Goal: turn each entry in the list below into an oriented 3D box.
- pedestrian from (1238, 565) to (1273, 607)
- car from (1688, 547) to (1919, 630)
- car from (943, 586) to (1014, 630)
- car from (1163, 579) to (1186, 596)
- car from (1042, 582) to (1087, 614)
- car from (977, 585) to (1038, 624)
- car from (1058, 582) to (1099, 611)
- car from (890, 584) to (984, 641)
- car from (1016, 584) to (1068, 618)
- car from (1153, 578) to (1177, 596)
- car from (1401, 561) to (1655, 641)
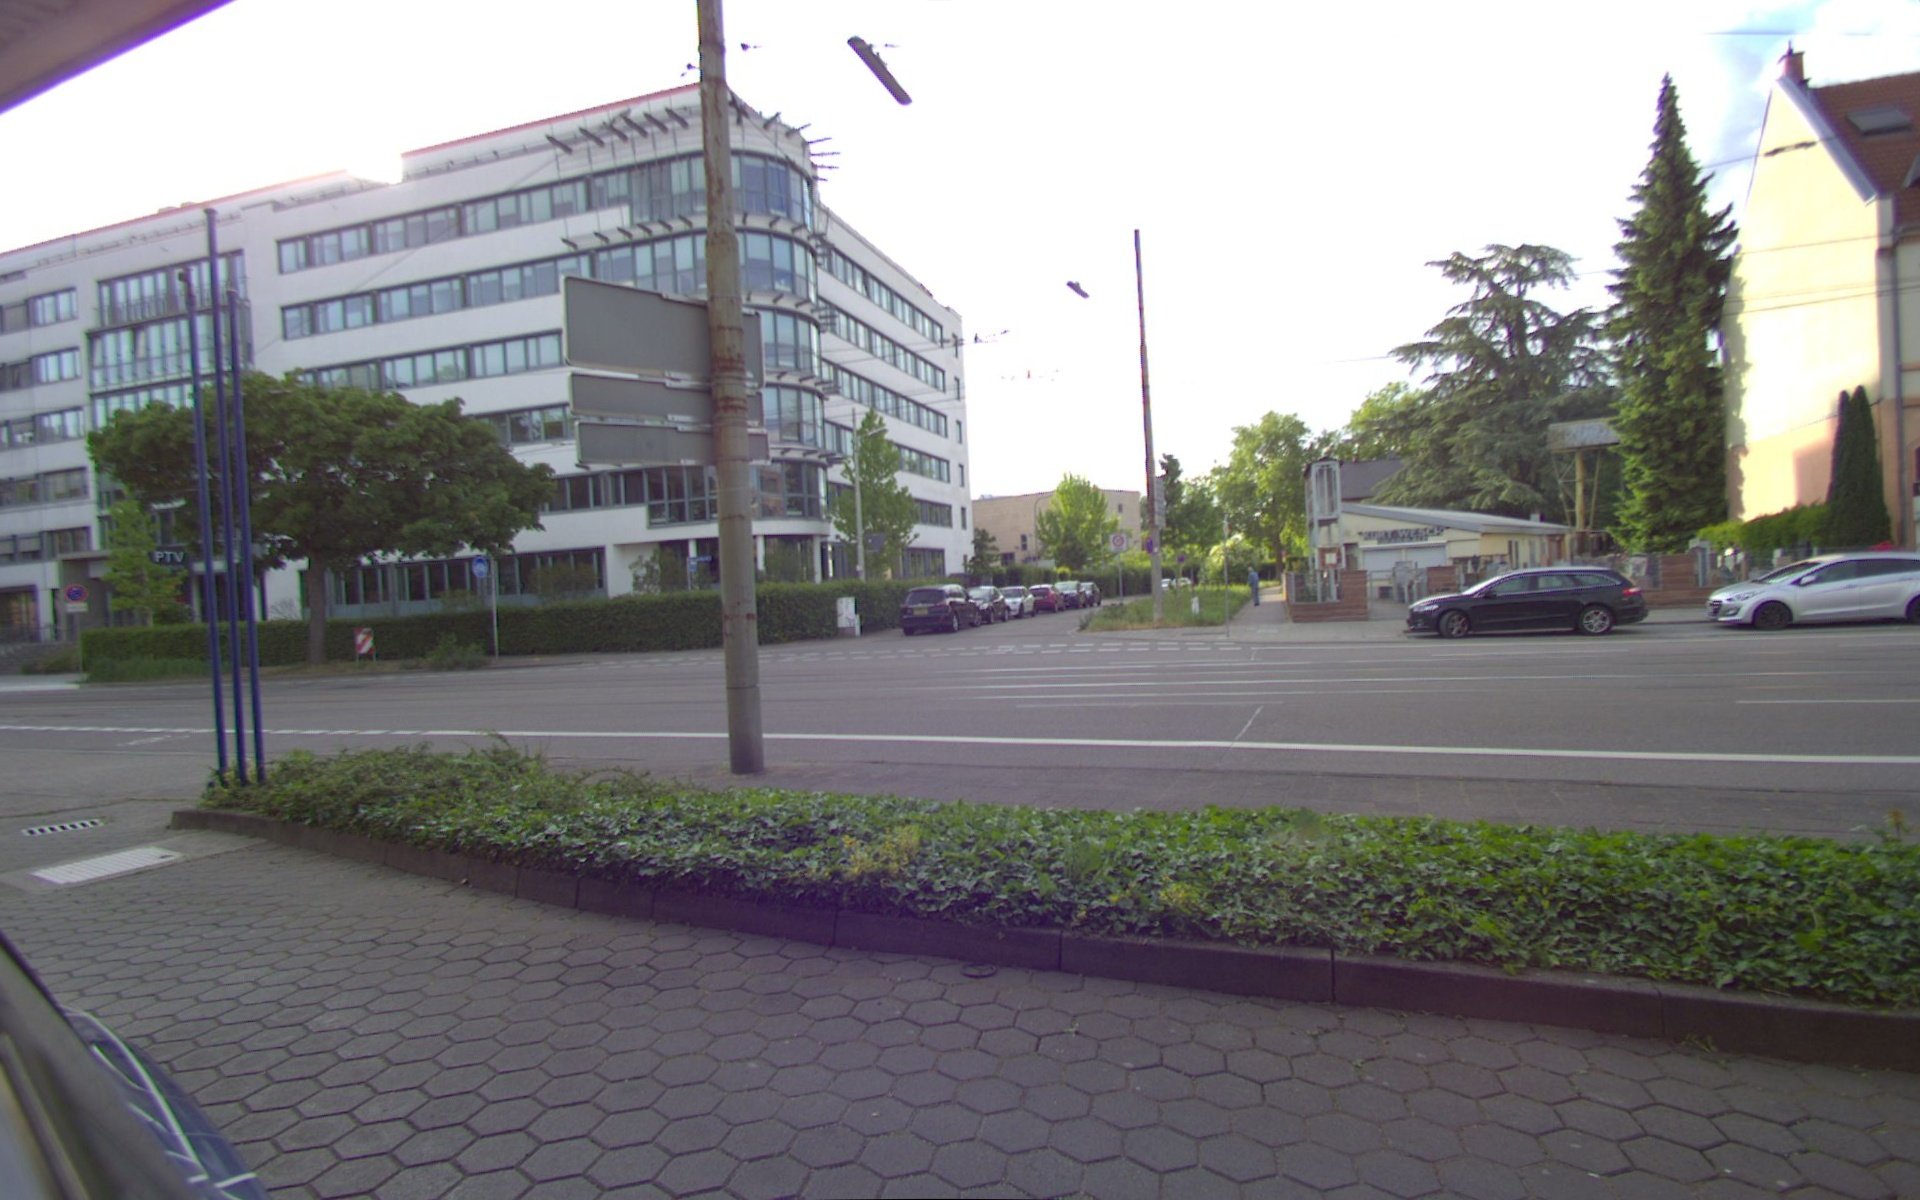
[{"bbox_3d":[13.123,-0.631,44.980,1.073,1.843,1.009,-1,0,-26],"label":"pedestrian"},{"bbox_3d":[18.494,-0.259,21.502,4.459,1.486,1.986,-4,0,22],"label":"car"},{"bbox_3d":[0.799,0.288,40.897,1.773,1.565,4.083,-4,0,17],"label":"car"},{"bbox_3d":[22.563,-1.297,106.315,1.774,1.653,4.060,-4,0,19],"label":"car"},{"bbox_3d":[5.982,-0.137,57.664,1.773,1.653,4.064,-4,0,17],"label":"car"},{"bbox_3d":[2.207,0.175,45.758,1.773,1.565,4.083,-4,0,17],"label":"car"},{"bbox_3d":[7.373,-0.234,62.675,1.773,1.653,4.064,-4,0,17],"label":"car"},{"bbox_3d":[-0.721,0.379,35.539,1.962,1.625,4.411,-4,2,17],"label":"car"},{"bbox_3d":[4.288,0.022,52.363,1.773,1.552,4.018,-4,0,17],"label":"car"},{"bbox_3d":[20.424,-1.269,100.618,1.774,1.653,4.060,-4,0,19],"label":"car"},{"bbox_3d":[12.918,0.042,23.419,4.791,1.507,1.986,-3,0,22],"label":"car"}]
